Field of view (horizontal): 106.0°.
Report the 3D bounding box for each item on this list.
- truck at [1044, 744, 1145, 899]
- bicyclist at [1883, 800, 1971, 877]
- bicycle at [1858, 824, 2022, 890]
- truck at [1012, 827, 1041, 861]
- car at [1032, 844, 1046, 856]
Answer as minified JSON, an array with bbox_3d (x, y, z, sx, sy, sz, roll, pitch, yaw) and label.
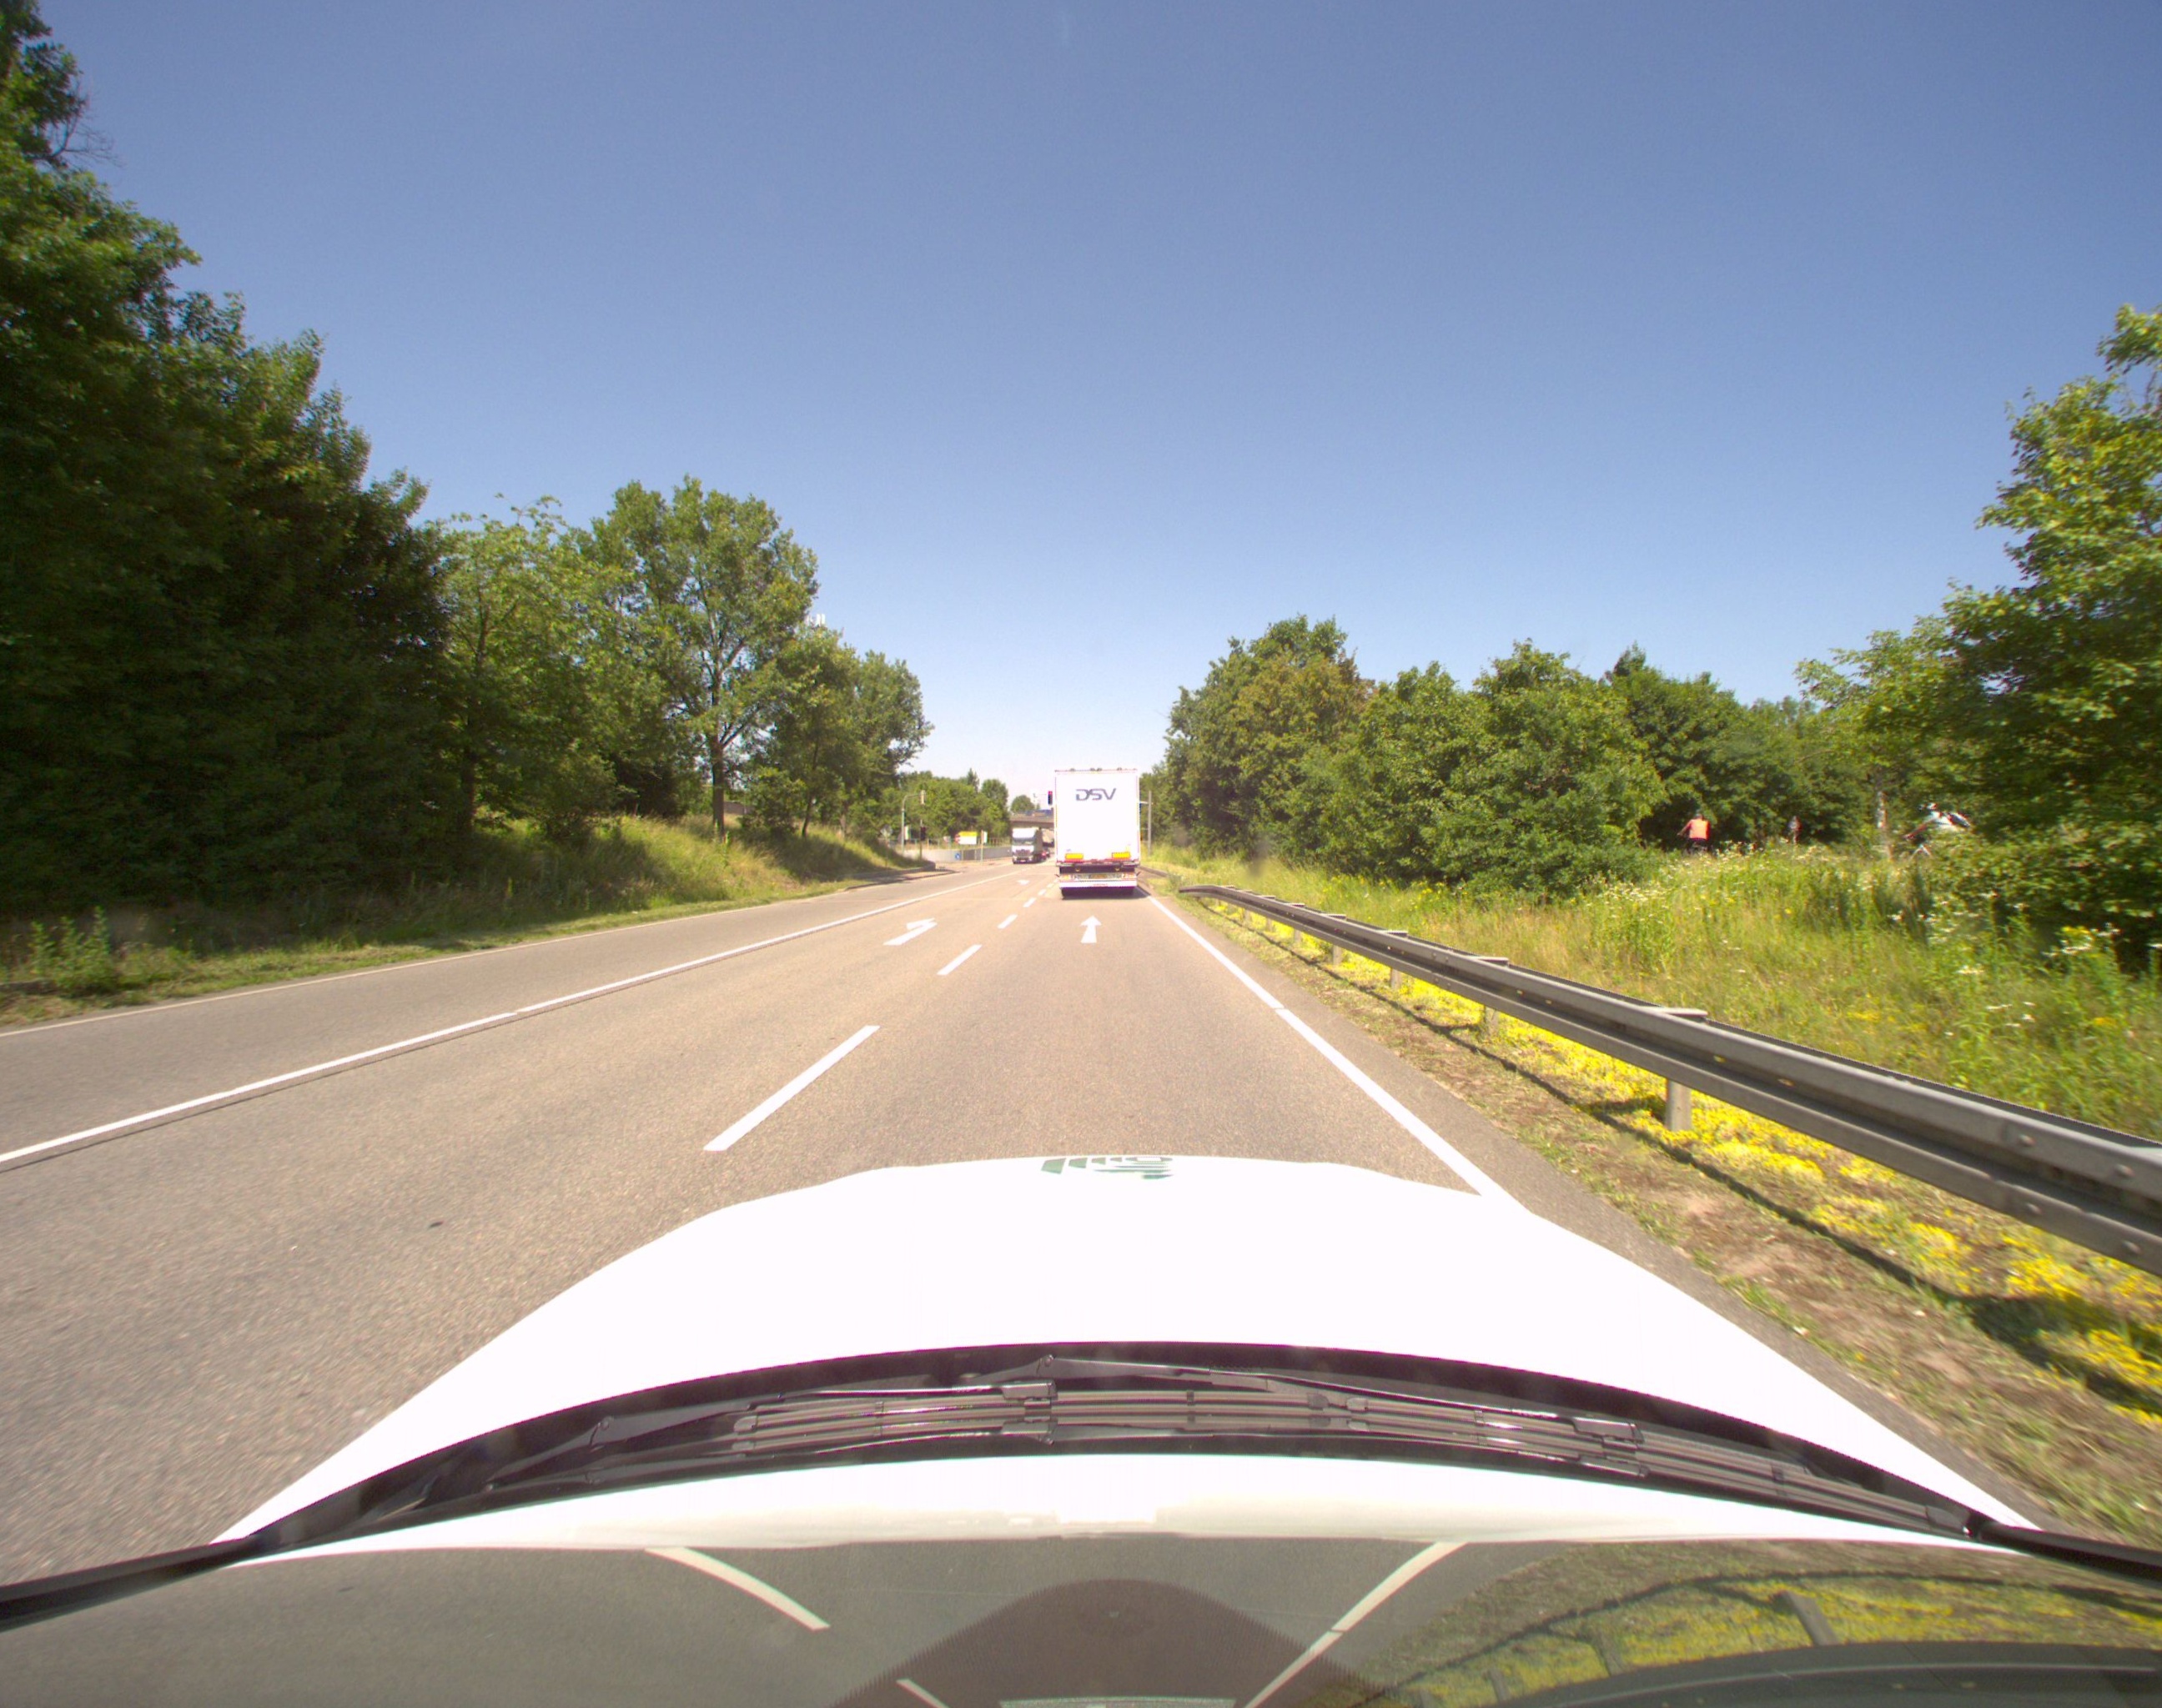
[{"bbox_3d":[0.463,-0.994,29.085,2.940,4.568,9.863,-1,0,1],"label":"truck"},{"bbox_3d":[18.627,-0.335,17.951,0.830,1.629,1.105,-1,1,-19],"label":"bicyclist"},{"bbox_3d":[18.705,0.052,17.830,0.835,1.340,2.354,-1,1,-17],"label":"bicycle"},{"bbox_3d":[-6.413,-1.235,96.922,2.345,3.749,12.627,-1,1,1],"label":"truck"},{"bbox_3d":[-5.866,-0.530,114.318,1.741,1.626,3.703,-1,1,0],"label":"car"}]
